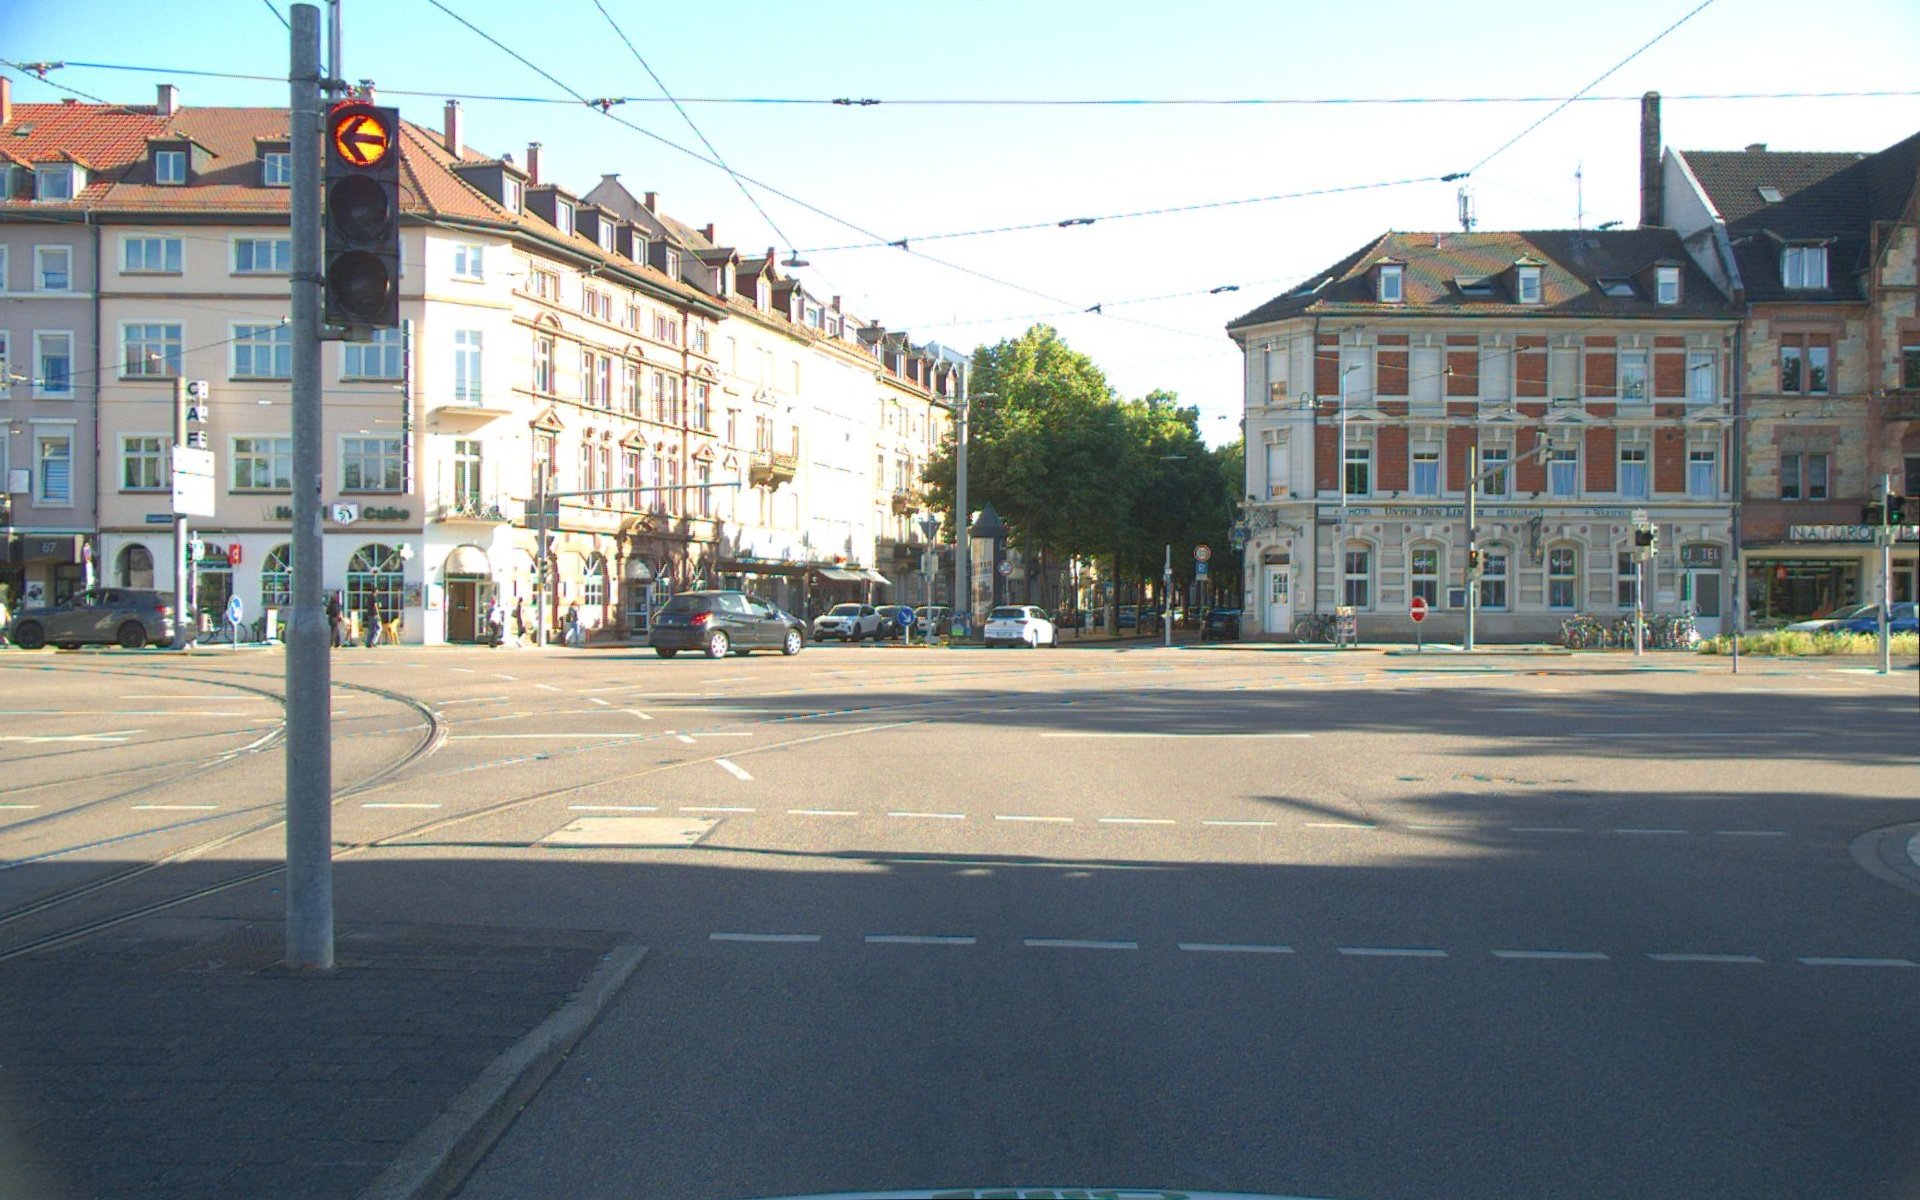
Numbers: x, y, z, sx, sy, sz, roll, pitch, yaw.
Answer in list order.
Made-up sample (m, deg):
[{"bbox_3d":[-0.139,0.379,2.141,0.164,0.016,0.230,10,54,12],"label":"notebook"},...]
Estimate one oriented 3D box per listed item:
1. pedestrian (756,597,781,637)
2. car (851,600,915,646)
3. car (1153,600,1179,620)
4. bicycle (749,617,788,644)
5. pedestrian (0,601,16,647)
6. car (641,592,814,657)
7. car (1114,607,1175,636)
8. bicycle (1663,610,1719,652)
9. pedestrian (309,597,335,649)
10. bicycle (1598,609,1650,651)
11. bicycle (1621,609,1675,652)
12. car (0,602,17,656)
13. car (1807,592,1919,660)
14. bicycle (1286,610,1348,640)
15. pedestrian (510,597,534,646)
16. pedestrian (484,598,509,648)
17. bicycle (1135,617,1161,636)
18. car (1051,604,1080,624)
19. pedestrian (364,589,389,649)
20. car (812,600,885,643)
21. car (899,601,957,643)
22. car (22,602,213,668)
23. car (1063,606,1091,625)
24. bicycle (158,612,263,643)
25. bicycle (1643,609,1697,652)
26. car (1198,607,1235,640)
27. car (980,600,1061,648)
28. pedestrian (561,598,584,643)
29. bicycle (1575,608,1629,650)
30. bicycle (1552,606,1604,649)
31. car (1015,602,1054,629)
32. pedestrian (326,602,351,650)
[{"bbox_3d":[-7.540,0.666,65.081,0.803,1.539,0.598,1,-1,14],"label":"pedestrian"},{"bbox_3d":[-3.386,1.009,73.612,1.951,1.937,4.003,1,0,11],"label":"car"},{"bbox_3d":[16.821,0.834,134.936,1.526,1.540,3.658,1,0,16],"label":"car"},{"bbox_3d":[-7.528,1.205,65.152,0.746,1.025,2.398,1,0,13],"label":"bicycle"},{"bbox_3d":[-31.664,0.776,54.662,0.620,1.502,0.465,1,-1,-5],"label":"pedestrian"},{"bbox_3d":[-5.240,0.548,37.693,1.724,1.386,3.841,1,0,36],"label":"car"},{"bbox_3d":[12.854,1.463,115.145,3.902,1.937,2.001,1,0,15],"label":"car"},{"bbox_3d":[23.484,0.986,53.167,0.615,1.309,2.661,1,0,0],"label":"bicycle"},{"bbox_3d":[-20.324,0.741,52.693,0.620,1.640,0.465,1,-1,-5],"label":"pedestrian"},{"bbox_3d":[21.307,0.939,53.141,0.615,1.309,2.661,1,0,0],"label":"bicycle"},{"bbox_3d":[22.085,0.963,53.144,0.615,1.309,2.661,1,0,0],"label":"bicycle"},{"bbox_3d":[-32.385,0.914,52.424,3.902,1.699,2.002,0,0,8],"label":"car"},{"bbox_3d":[25.933,0.725,46.043,3.706,1.809,1.999,1,0,-2],"label":"car"},{"bbox_3d":[12.352,0.865,57.265,2.006,1.015,0.631,1,0,2],"label":"bicycle"},{"bbox_3d":[-15.001,0.742,56.660,0.620,1.662,0.700,1,-1,-4],"label":"pedestrian"},{"bbox_3d":[-15.451,0.755,55.153,0.620,1.662,0.700,1,-1,-4],"label":"pedestrian"},{"bbox_3d":[11.284,1.570,99.217,0.619,1.104,1.685,1,0,-31],"label":"bicycle"},{"bbox_3d":[8.476,1.134,132.104,1.526,1.540,3.658,1,0,16],"label":"car"},{"bbox_3d":[-18.655,0.610,52.880,0.620,1.914,0.465,1,-1,-5],"label":"pedestrian"},{"bbox_3d":[-4.488,0.863,67.144,1.951,1.646,4.003,1,0,11],"label":"car"},{"bbox_3d":[-1.512,1.067,79.757,1.951,1.937,4.003,1,0,11],"label":"car"},{"bbox_3d":[-22.548,0.927,44.392,4.081,1.646,1.953,1,0,-2],"label":"car"},{"bbox_3d":[9.636,1.297,136.459,1.526,1.540,3.658,1,0,16],"label":"car"},{"bbox_3d":[-25.515,0.942,56.346,3.066,0.997,1.001,1,0,-1],"label":"bicycle"},{"bbox_3d":[22.800,0.961,53.168,0.615,1.309,2.661,1,0,0],"label":"bicycle"},{"bbox_3d":[12.870,1.150,82.769,1.655,1.592,3.844,1,0,11],"label":"car"},{"bbox_3d":[2.101,0.810,56.496,1.734,1.557,4.002,1,0,18],"label":"car"},{"bbox_3d":[-14.222,0.747,60.765,0.532,1.660,0.707,1,-1,13],"label":"pedestrian"},{"bbox_3d":[20.597,0.926,53.120,0.678,1.309,2.661,1,0,0],"label":"bicycle"},{"bbox_3d":[19.802,0.865,53.091,0.678,1.309,2.661,1,0,0],"label":"bicycle"},{"bbox_3d":[5.573,1.120,122.974,1.951,1.937,4.002,1,0,16],"label":"car"},{"bbox_3d":[-19.625,0.818,52.232,0.620,1.502,0.465,1,-1,-5],"label":"pedestrian"}]
